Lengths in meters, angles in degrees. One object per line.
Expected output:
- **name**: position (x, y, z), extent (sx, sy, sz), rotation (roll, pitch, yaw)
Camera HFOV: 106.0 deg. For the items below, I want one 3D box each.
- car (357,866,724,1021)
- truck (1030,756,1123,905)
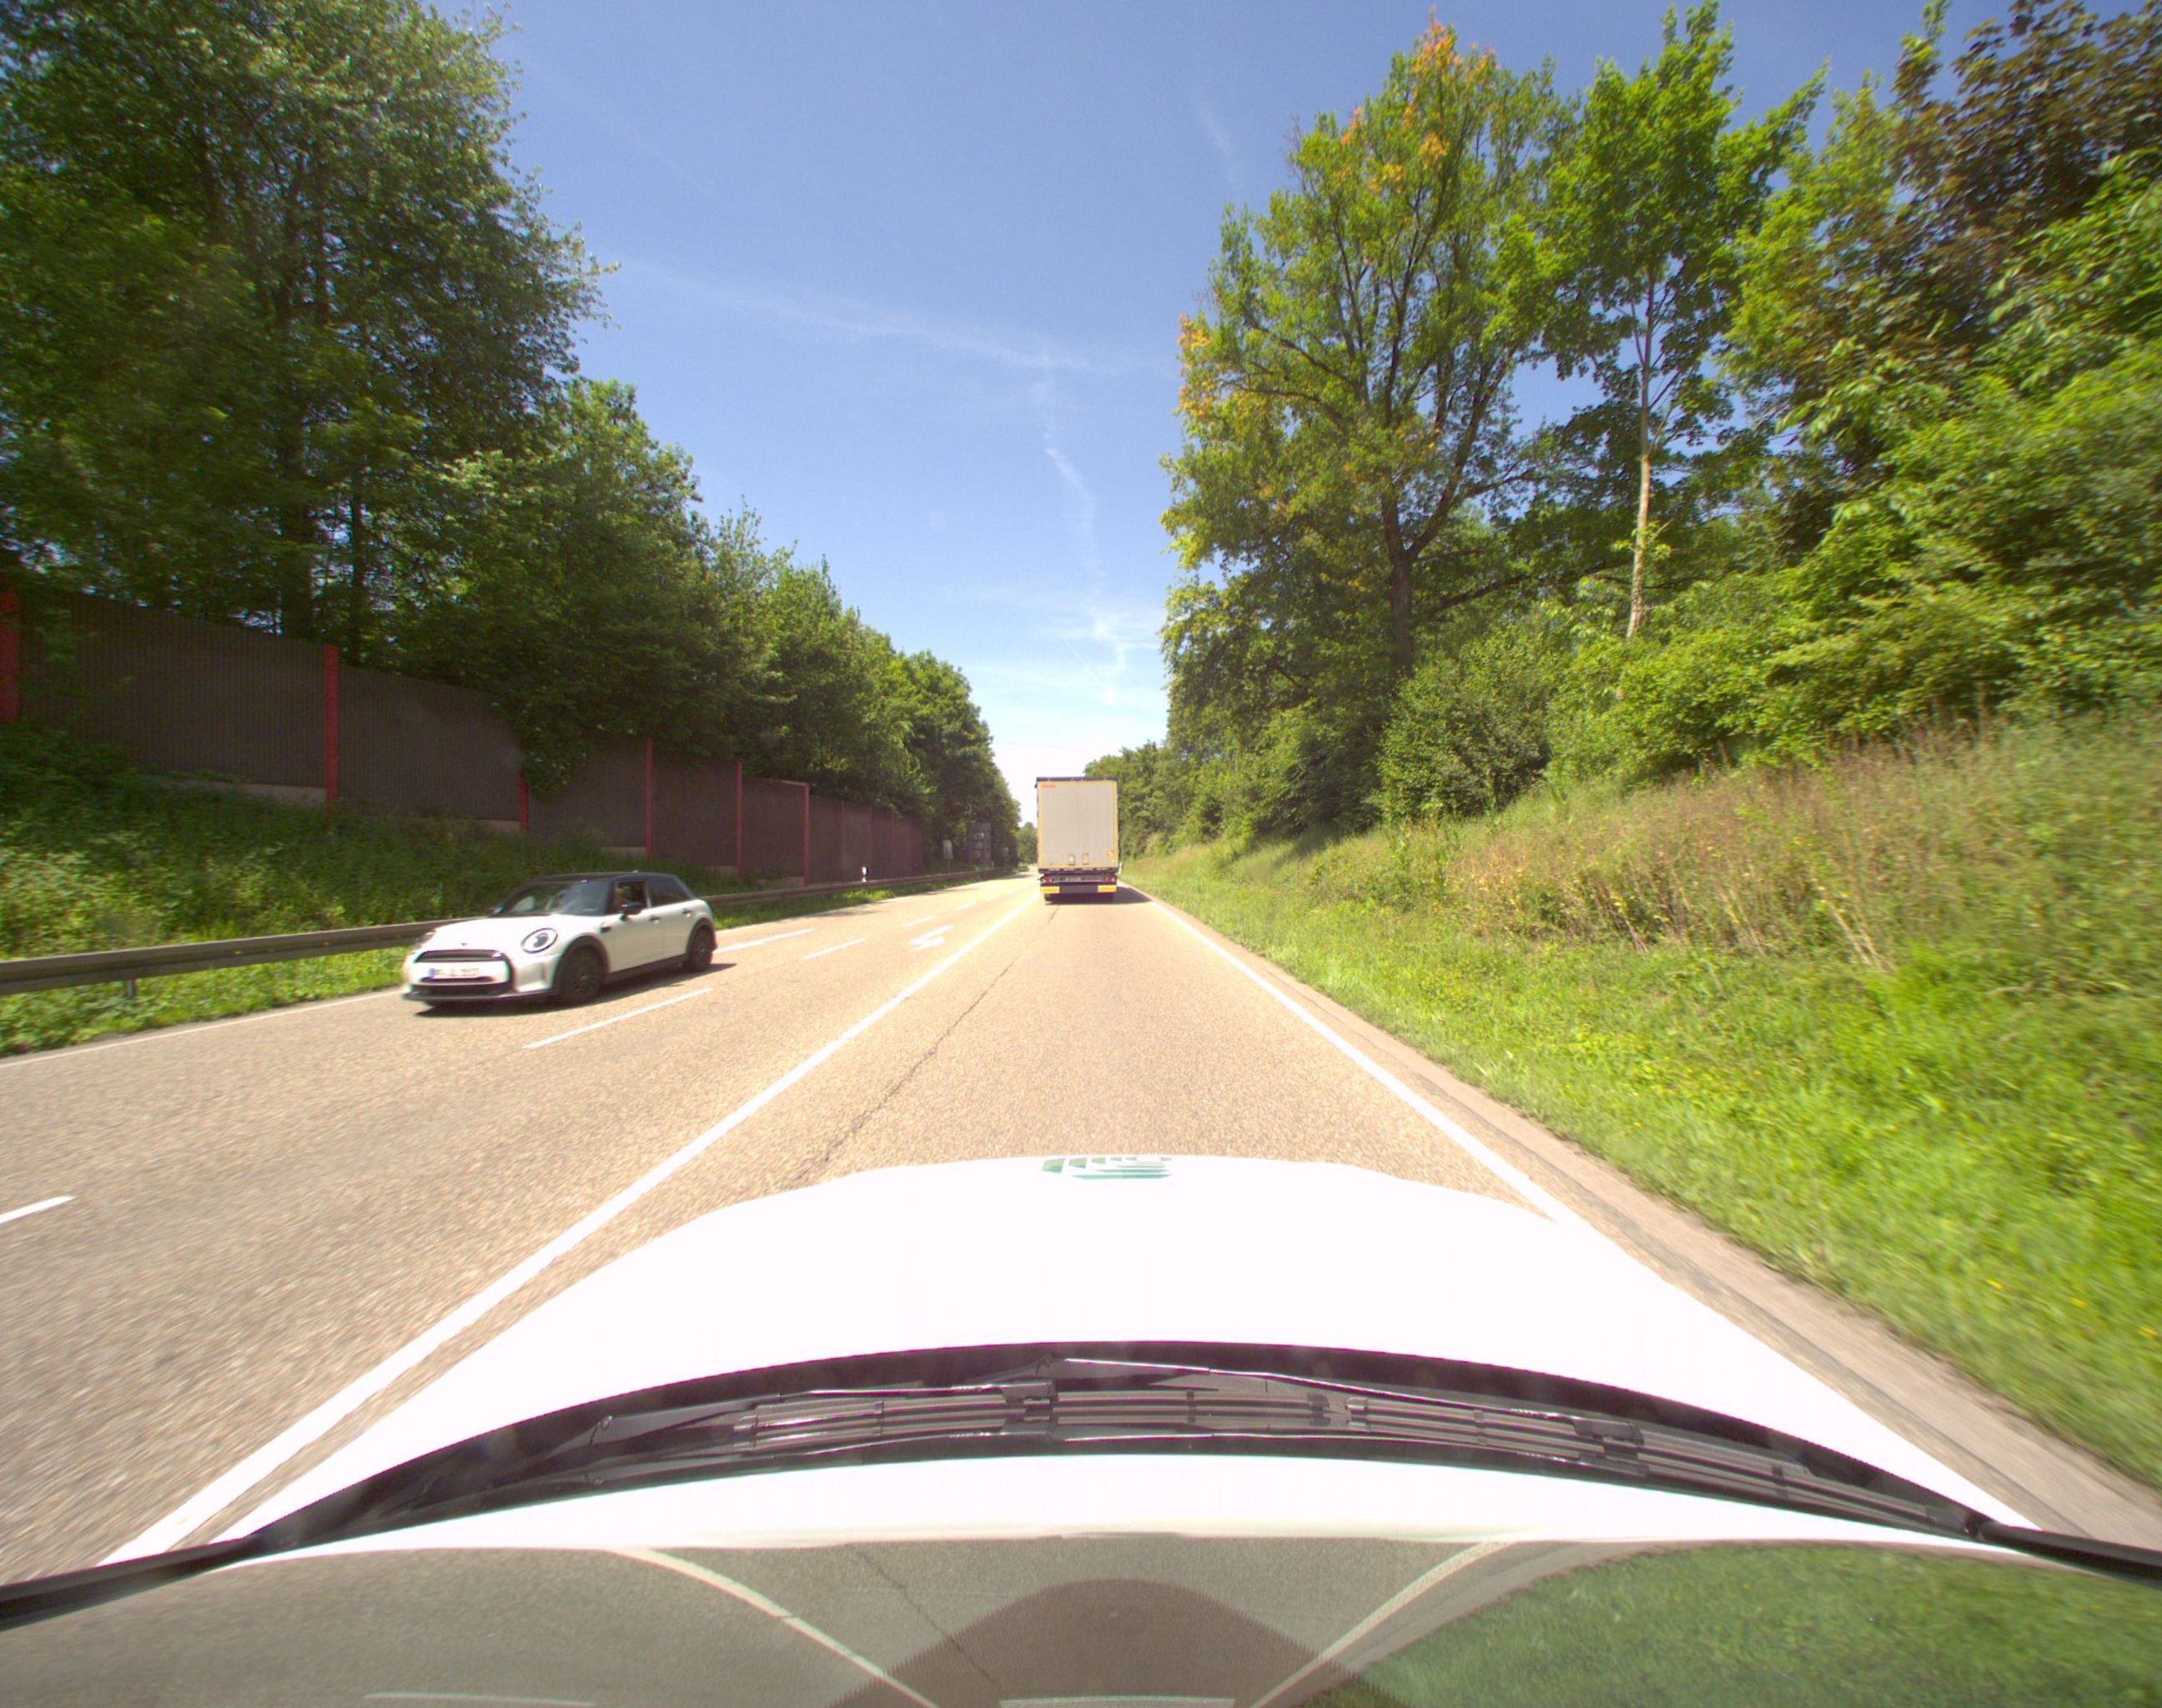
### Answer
- **car**: position (-6.254, 0.921, 10.071), extent (1.799, 1.435, 3.873), rotation (-2, 0, 2)
- **truck**: position (-0.076, -0.775, 28.635), extent (2.813, 4.603, 6.666), rotation (-1, 1, 1)
